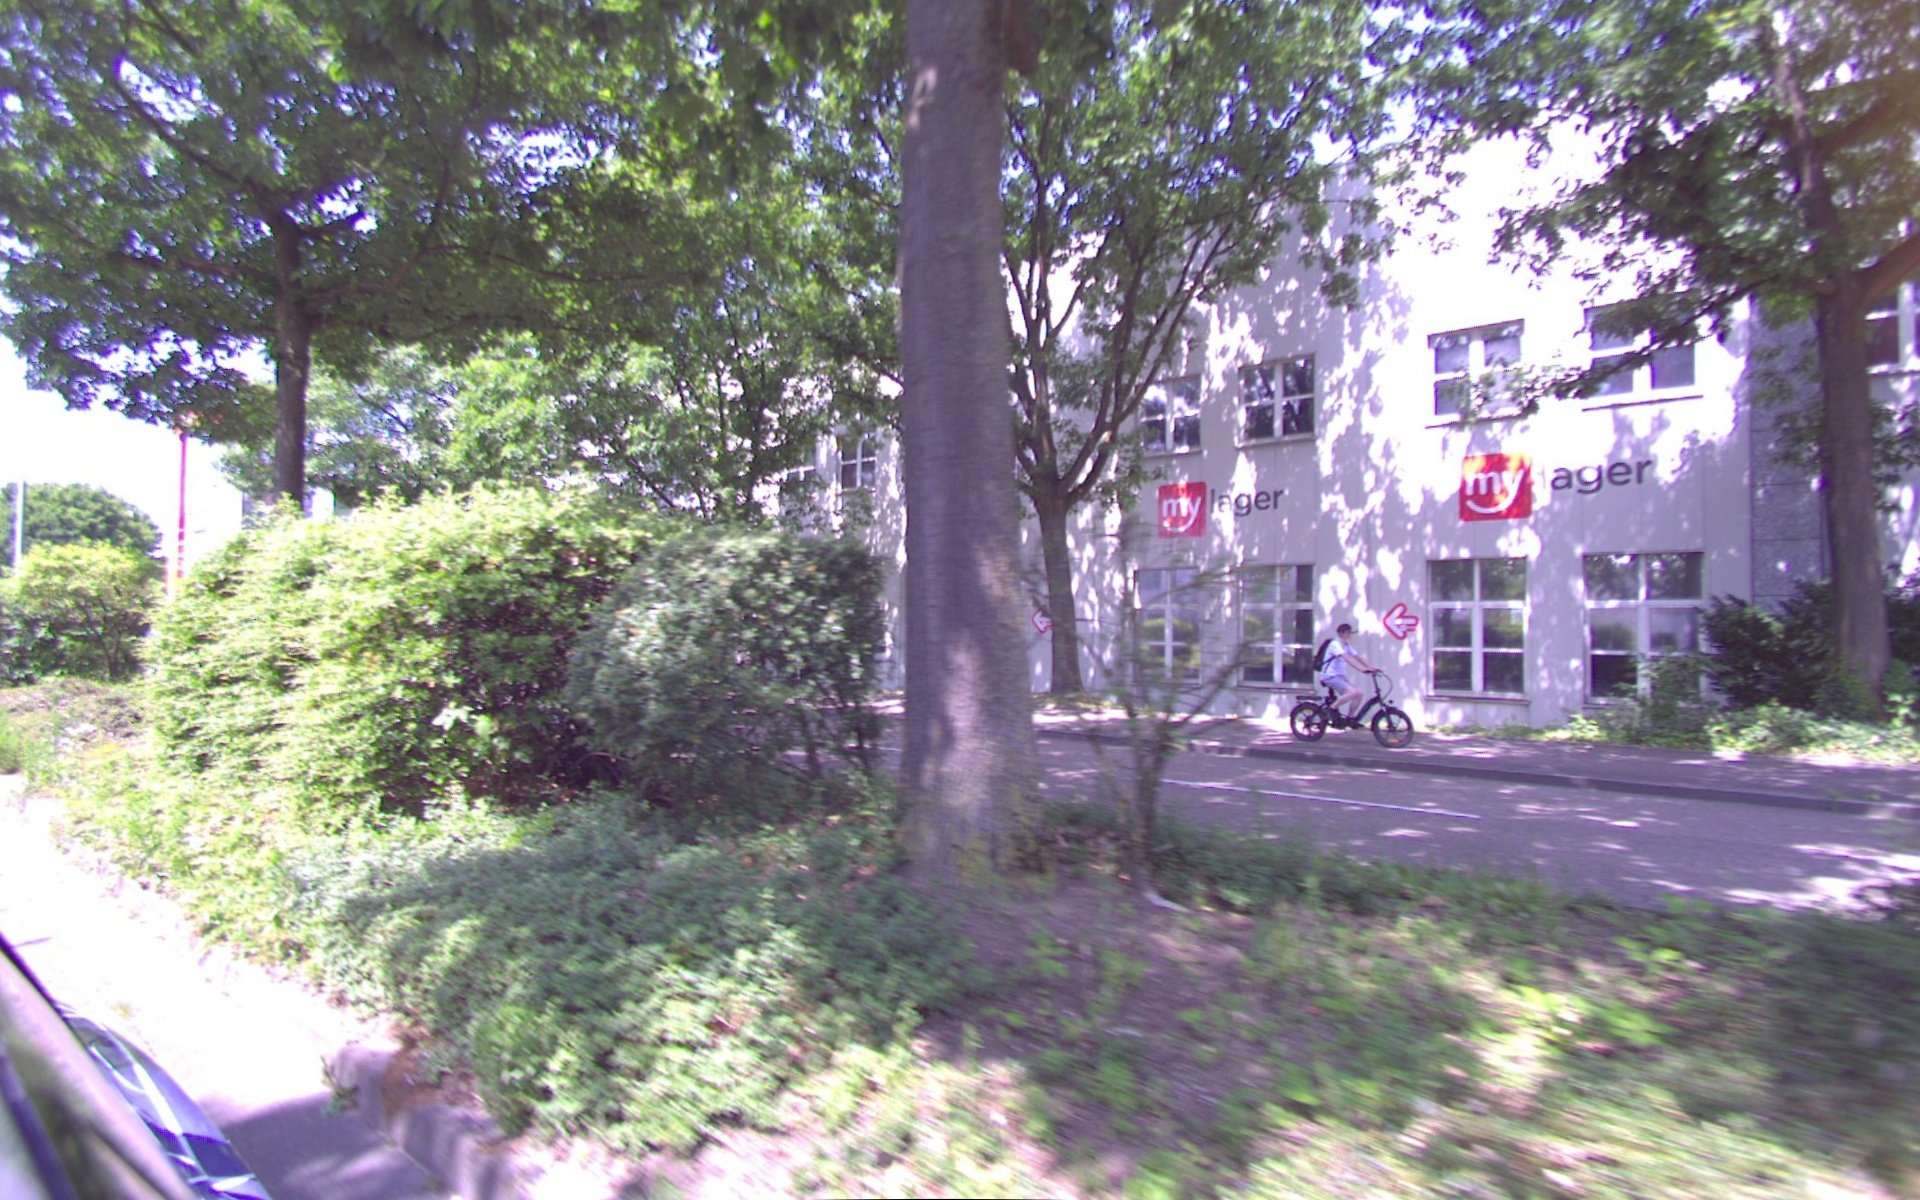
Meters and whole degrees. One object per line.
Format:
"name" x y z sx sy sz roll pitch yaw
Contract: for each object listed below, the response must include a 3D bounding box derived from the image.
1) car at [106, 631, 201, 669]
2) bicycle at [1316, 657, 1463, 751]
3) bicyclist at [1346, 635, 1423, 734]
"car" -33.946 2.090 42.553 5.237 1.462 2.105 -1 -4 41
"bicycle" 5.780 1.368 13.694 1.761 1.128 0.516 0 -1 41
"bicyclist" 5.763 1.124 13.734 0.812 1.262 0.637 -1 -1 41
